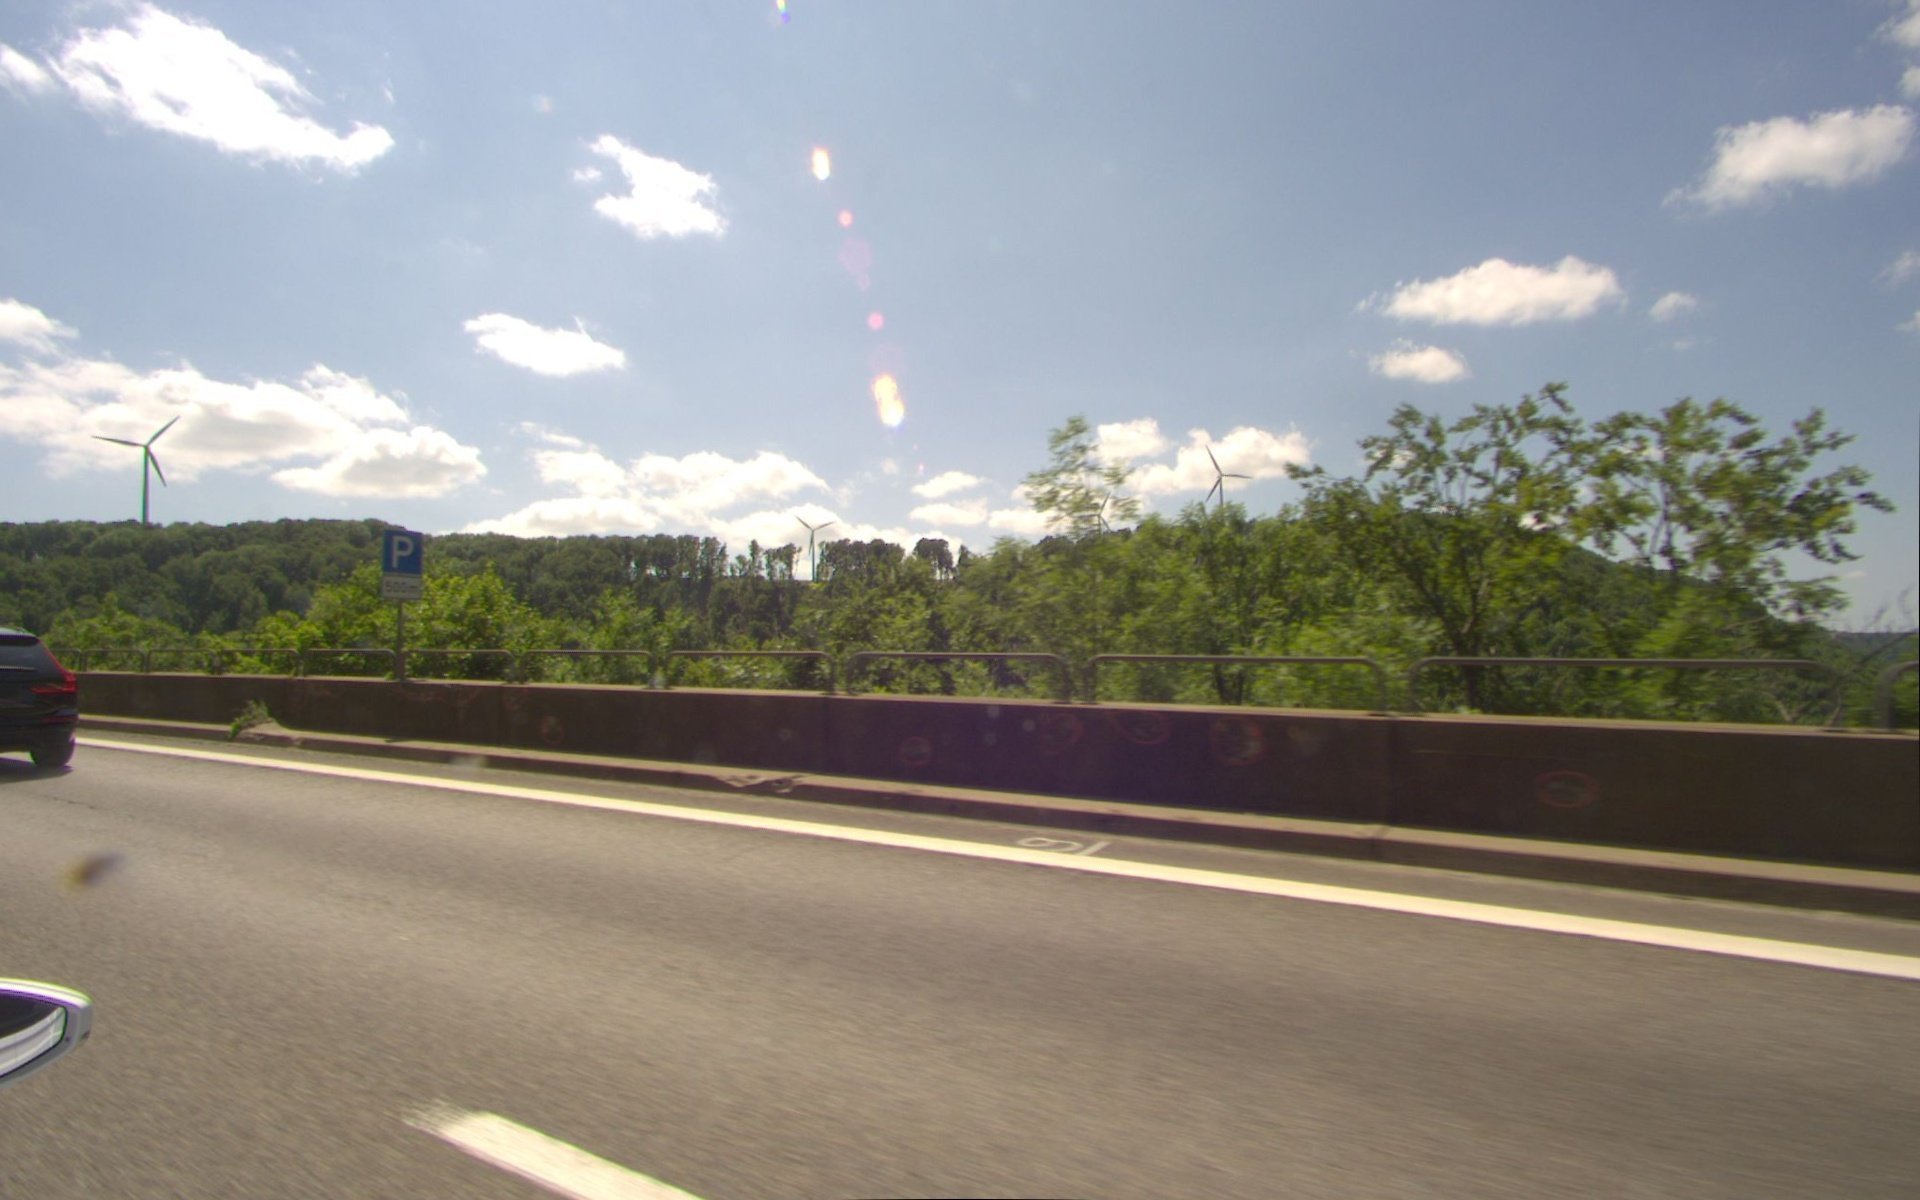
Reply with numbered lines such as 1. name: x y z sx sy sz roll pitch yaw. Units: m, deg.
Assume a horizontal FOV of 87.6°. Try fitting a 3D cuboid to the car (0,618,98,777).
1. car: -12.019 1.056 11.526 4.594 1.654 1.832 -1 -1 31
